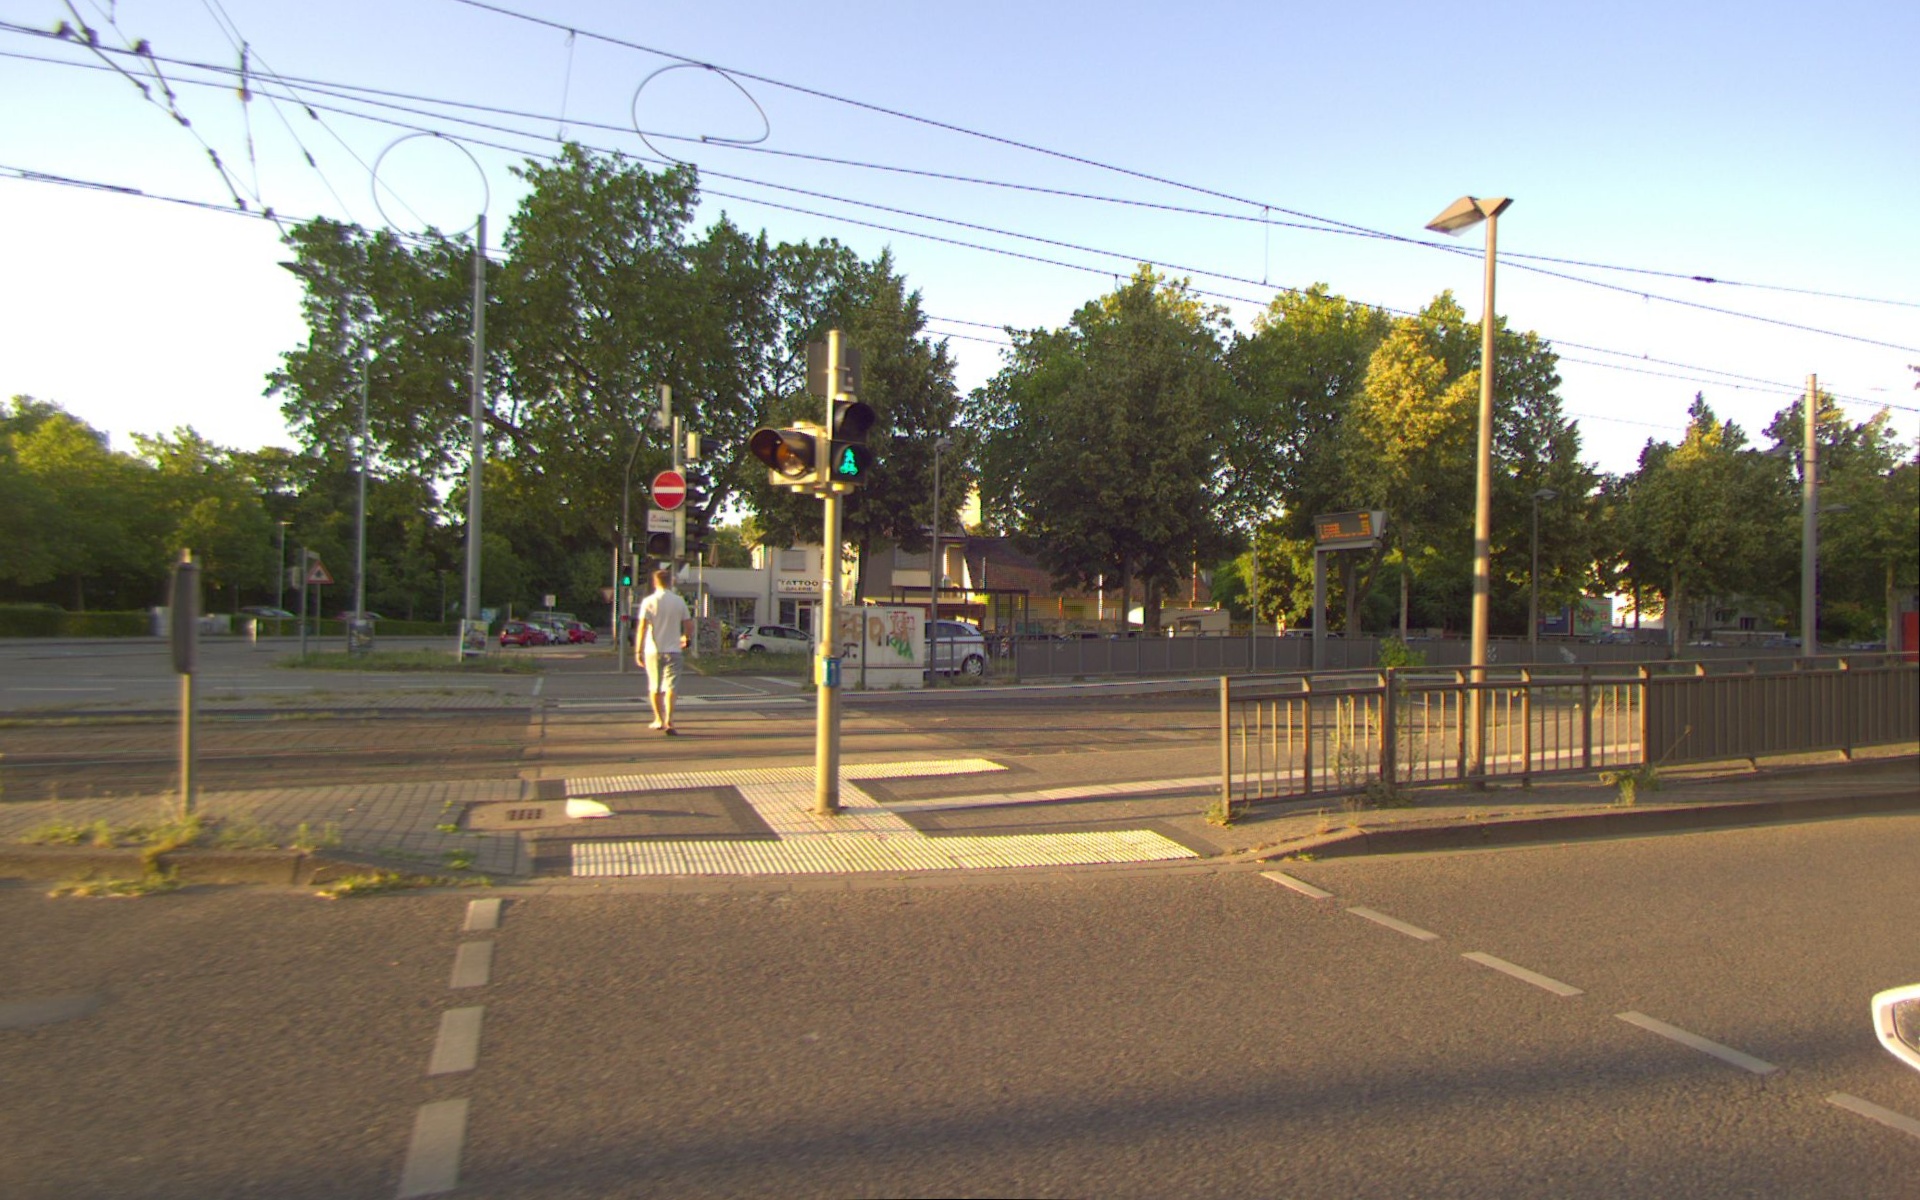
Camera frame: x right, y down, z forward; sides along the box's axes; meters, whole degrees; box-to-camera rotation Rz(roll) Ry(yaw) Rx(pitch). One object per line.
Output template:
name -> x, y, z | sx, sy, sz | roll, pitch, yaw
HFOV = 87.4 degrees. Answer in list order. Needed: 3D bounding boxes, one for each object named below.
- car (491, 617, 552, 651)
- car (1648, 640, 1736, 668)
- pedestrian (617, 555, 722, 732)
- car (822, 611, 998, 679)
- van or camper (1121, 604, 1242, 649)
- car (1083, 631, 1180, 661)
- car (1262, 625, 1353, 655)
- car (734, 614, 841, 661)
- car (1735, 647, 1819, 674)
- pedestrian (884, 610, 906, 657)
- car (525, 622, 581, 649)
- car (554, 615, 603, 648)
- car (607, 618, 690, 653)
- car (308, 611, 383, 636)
car -> -25.923, 1.992, 59.565 | 1.837, 1.899, 3.875 | 1, -1, 1
car -> 41.461, 3.036, 56.905 | 4.177, 1.484, 1.992 | 1, -1, -18
pedestrian -> -3.135, 0.460, 10.902 | 0.748, 1.814, 0.803 | 2, -1, 10
car -> -1.365, 1.224, 27.632 | 4.487, 1.750, 1.850 | 2, -1, -25
van or camper -> 12.636, 1.535, 57.320 | 6.478, 2.441, 2.257 | 2, -2, -17
car -> 8.233, 2.217, 48.267 | 4.177, 1.317, 1.919 | 2, -1, -18
car -> 18.037, 2.068, 52.175 | 4.177, 1.484, 1.992 | 1, -1, -18
car -> -7.220, 1.561, 41.963 | 4.177, 1.871, 1.992 | 1, -1, -18
car -> 48.861, 3.598, 60.056 | 4.177, 1.484, 1.992 | 1, -1, -18
pedestrian -> -2.526, 1.299, 38.893 | 0.706, 1.777, 0.898 | 1, -1, 4
car -> -25.732, 2.244, 63.680 | 1.961, 1.595, 4.000 | 1, -1, -1
car -> -25.699, 2.102, 67.762 | 1.884, 2.074, 3.999 | 1, -1, -3
car -> -17.208, 1.957, 55.716 | 4.319, 1.859, 1.942 | 1, -1, -16
car -> -41.724, 1.597, 68.282 | 3.938, 1.581, 1.992 | 2, -1, -19
